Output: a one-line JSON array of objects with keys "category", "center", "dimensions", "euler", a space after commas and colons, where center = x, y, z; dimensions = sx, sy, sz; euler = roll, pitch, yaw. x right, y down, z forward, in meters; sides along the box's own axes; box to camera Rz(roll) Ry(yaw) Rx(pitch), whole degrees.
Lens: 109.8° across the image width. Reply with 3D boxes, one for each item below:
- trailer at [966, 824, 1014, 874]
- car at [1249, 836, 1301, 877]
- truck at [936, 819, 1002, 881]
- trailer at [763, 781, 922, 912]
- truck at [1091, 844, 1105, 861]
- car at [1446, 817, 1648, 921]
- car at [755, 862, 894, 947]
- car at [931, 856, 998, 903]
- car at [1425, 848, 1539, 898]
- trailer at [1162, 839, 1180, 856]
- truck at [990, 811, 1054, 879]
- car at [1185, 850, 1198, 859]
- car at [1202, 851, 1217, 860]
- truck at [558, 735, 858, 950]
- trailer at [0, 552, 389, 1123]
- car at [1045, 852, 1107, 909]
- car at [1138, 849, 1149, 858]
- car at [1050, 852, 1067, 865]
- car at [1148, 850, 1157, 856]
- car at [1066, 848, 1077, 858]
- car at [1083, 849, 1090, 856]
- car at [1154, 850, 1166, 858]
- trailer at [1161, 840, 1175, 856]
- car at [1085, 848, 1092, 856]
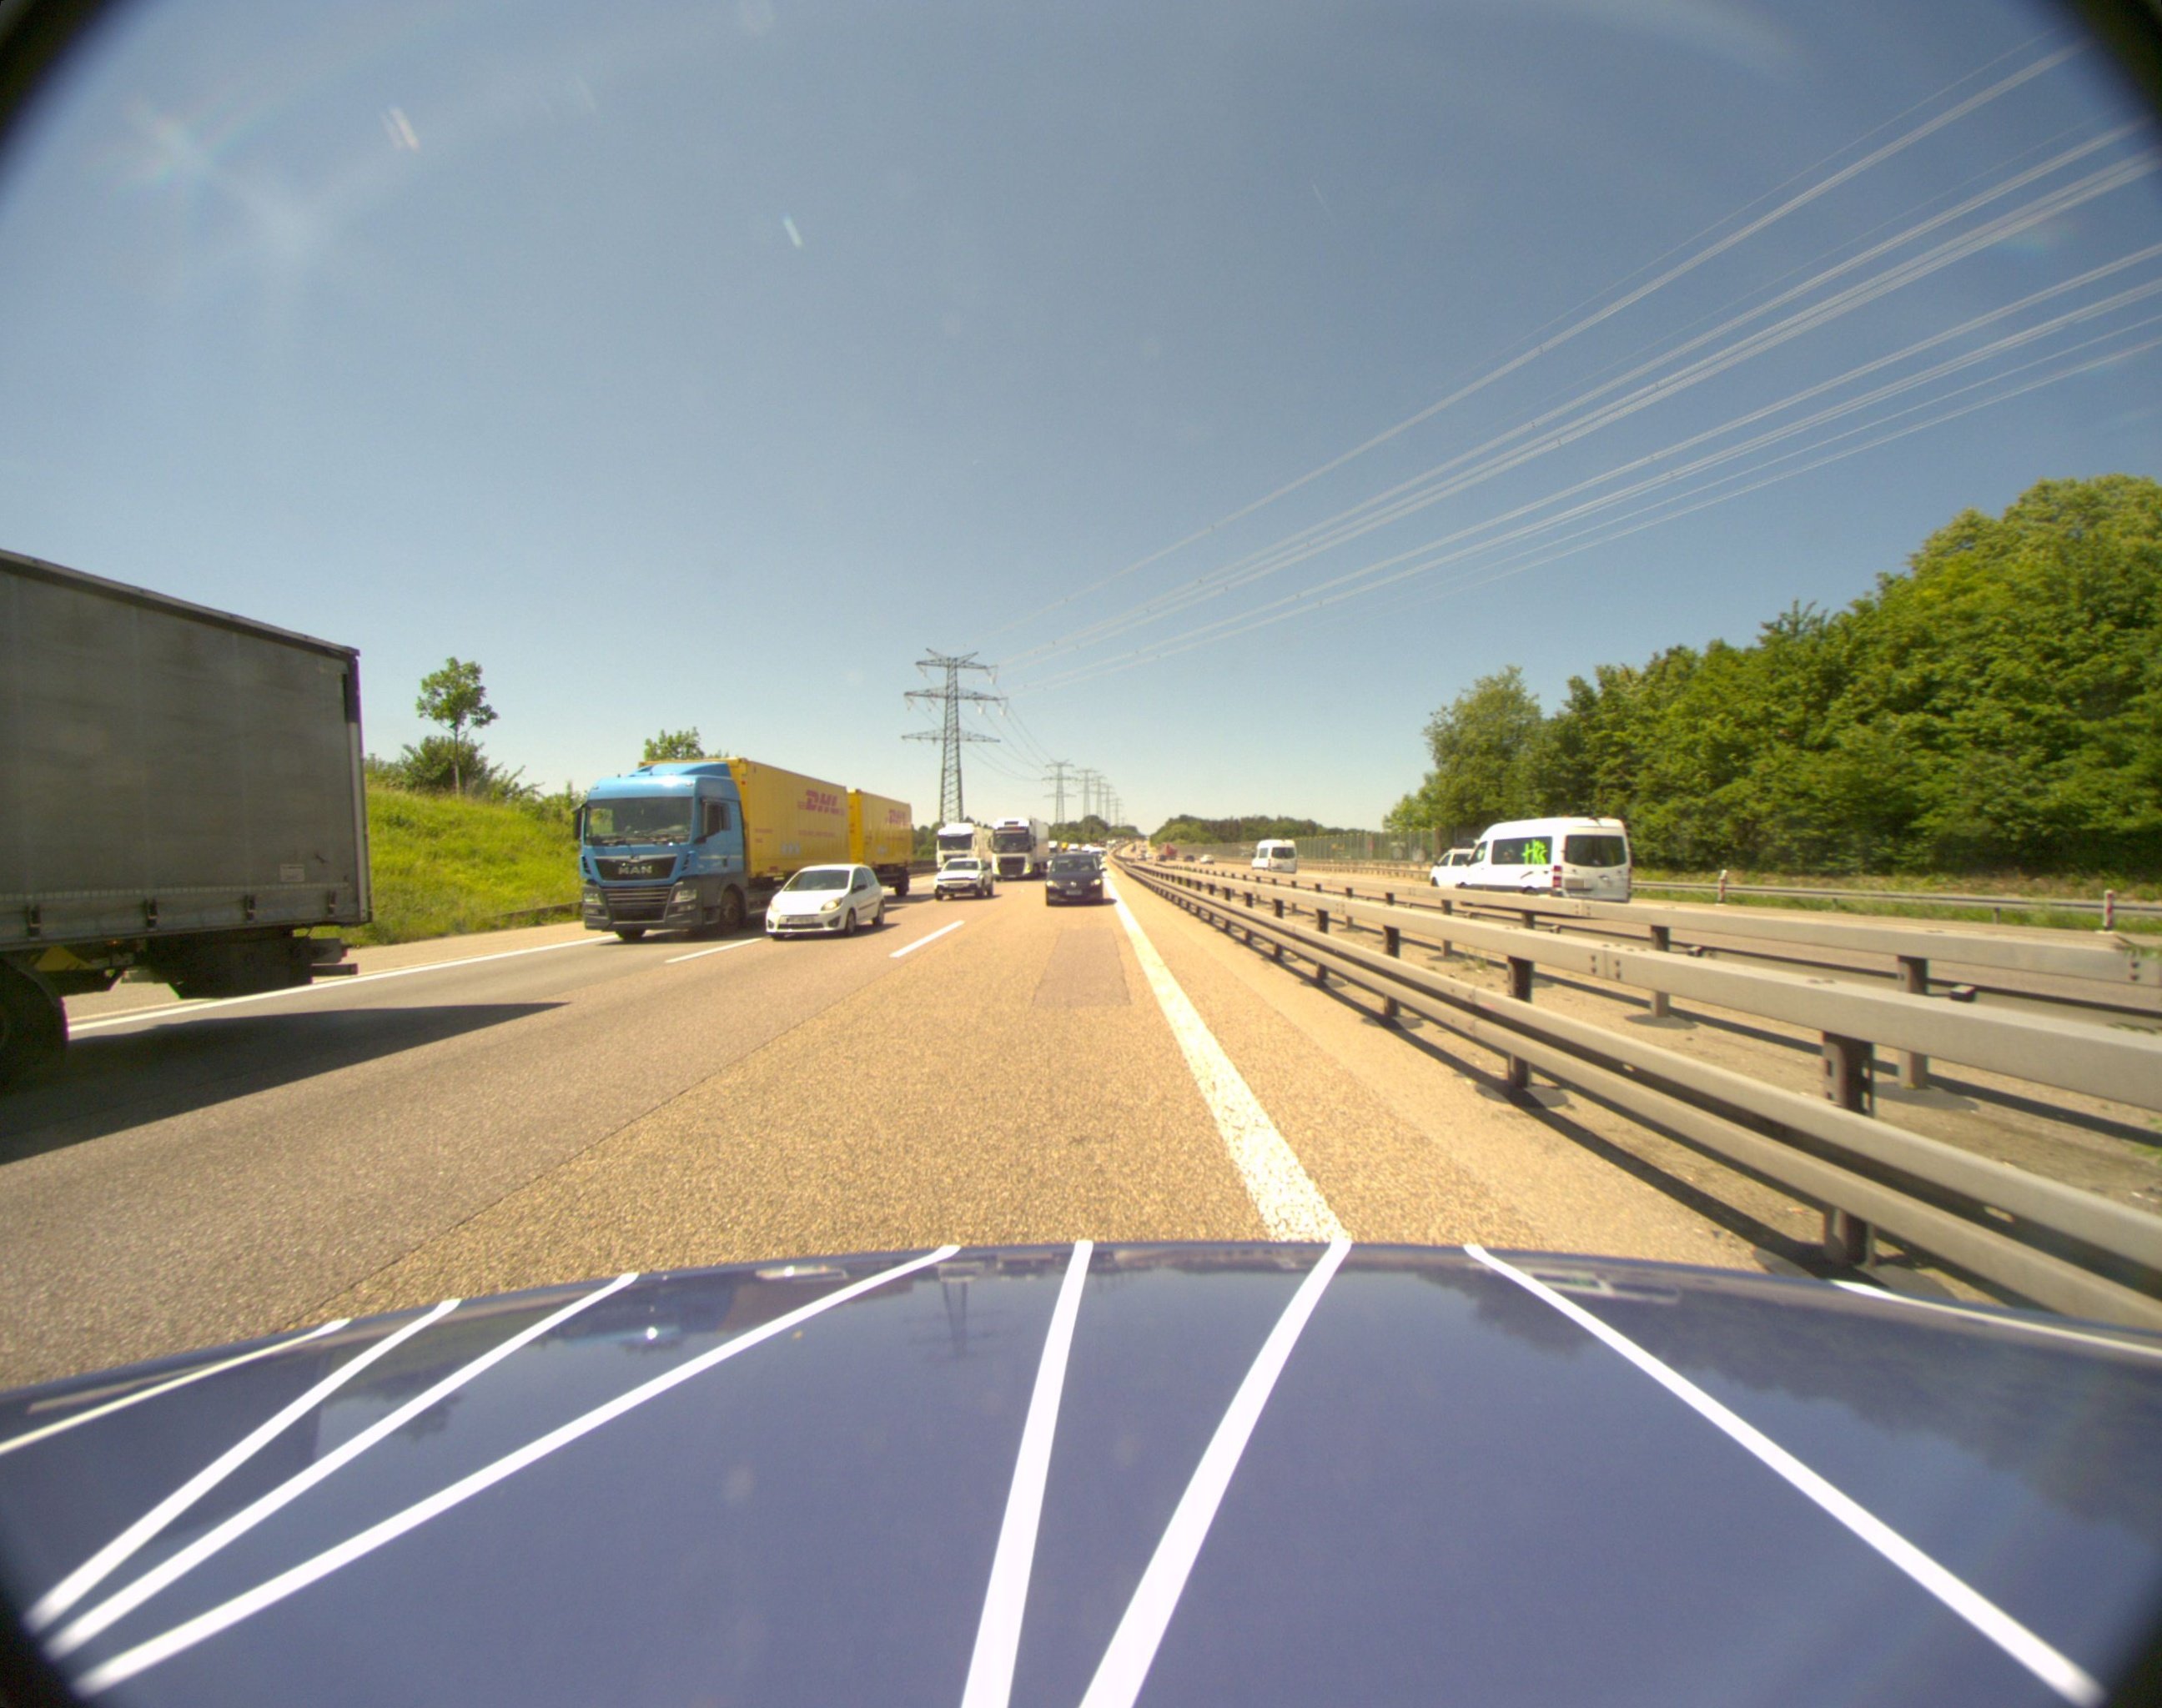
[{"category": "trailer", "center": [-7.589, -0.412, 64.318], "dimensions": [2.752, 3.918, 7.773], "euler": [-2, 1, 1]}, {"category": "car", "center": [13.587, 0.144, 53.624], "dimensions": [2.058, 2.636, 5.838], "euler": [3, 1, 0]}, {"category": "truck", "center": [-7.827, -0.300, 54.822], "dimensions": [2.695, 3.907, 11.297], "euler": [-2, 0, 1]}, {"category": "trailer", "center": [-8.619, -0.220, 29.030], "dimensions": [2.772, 4.093, 9.377], "euler": [-2, 0, 1]}, {"category": "truck", "center": [3.106, -0.335, 134.967], "dimensions": [2.309, 2.789, 5.109], "euler": [-2, 1, 2]}, {"category": "car", "center": [12.969, 0.315, 21.784], "dimensions": [2.161, 2.579, 5.889], "euler": [0, 1, 0]}, {"category": "car", "center": [-5.430, 0.996, 16.591], "dimensions": [1.659, 1.502, 3.825], "euler": [-1, 1, 1]}, {"category": "car", "center": [-4.350, 0.928, 29.006], "dimensions": [1.776, 1.521, 3.851], "euler": [-2, 1, 2]}, {"category": "car", "center": [16.991, 0.737, 32.590], "dimensions": [1.869, 1.894, 5.491], "euler": [1, 1, -1]}, {"category": "trailer", "center": [21.538, -1.478, 182.861], "dimensions": [2.770, 3.953, 14.681], "euler": [1, 0, 1]}, {"category": "truck", "center": [-3.845, -0.569, 53.459], "dimensions": [2.717, 4.015, 14.256], "euler": [-2, 0, 2]}, {"category": "car", "center": [22.295, 0.051, 153.254], "dimensions": [1.998, 1.567, 5.274], "euler": [-2, 1, 2]}, {"category": "car", "center": [21.646, 0.299, 128.065], "dimensions": [1.690, 1.447, 4.344], "euler": [1, 1, -2]}, {"category": "truck", "center": [-8.749, -0.206, 19.823], "dimensions": [2.772, 4.085, 9.952], "euler": [-2, 0, 0]}, {"category": "trailer", "center": [-9.122, -0.079, 1.341], "dimensions": [2.970, 4.026, 13.751], "euler": [-2, 0, 1]}, {"category": "car", "center": [-0.084, 0.776, 24.331], "dimensions": [1.748, 1.569, 4.000], "euler": [-2, 1, 2]}, {"category": "car", "center": [12.487, -0.045, 152.450], "dimensions": [1.778, 1.621, 3.950], "euler": [-2, 1, 0]}, {"category": "car", "center": [-2.790, 0.542, 94.073], "dimensions": [1.821, 1.569, 3.999], "euler": [-2, 1, 1]}, {"category": "car", "center": [18.489, -0.300, 196.693], "dimensions": [1.855, 1.458, 4.303], "euler": [0, 1, 0]}, {"category": "car", "center": [-1.666, -0.138, 132.925], "dimensions": [1.821, 1.569, 3.999], "euler": [-2, 1, 1]}, {"category": "car", "center": [1.381, -0.387, 199.442], "dimensions": [1.821, 1.569, 3.999], "euler": [-2, 1, 1]}, {"category": "car", "center": [15.461, -0.033, 148.937], "dimensions": [1.881, 1.438, 4.144], "euler": [0, 1, 0]}, {"category": "trailer", "center": [21.648, -1.474, 188.832], "dimensions": [2.764, 3.953, 6.131], "euler": [1, 0, 1]}, {"category": "car", "center": [2.149, -0.621, 217.090], "dimensions": [1.998, 2.002, 3.999], "euler": [-2, 1, 1]}]
